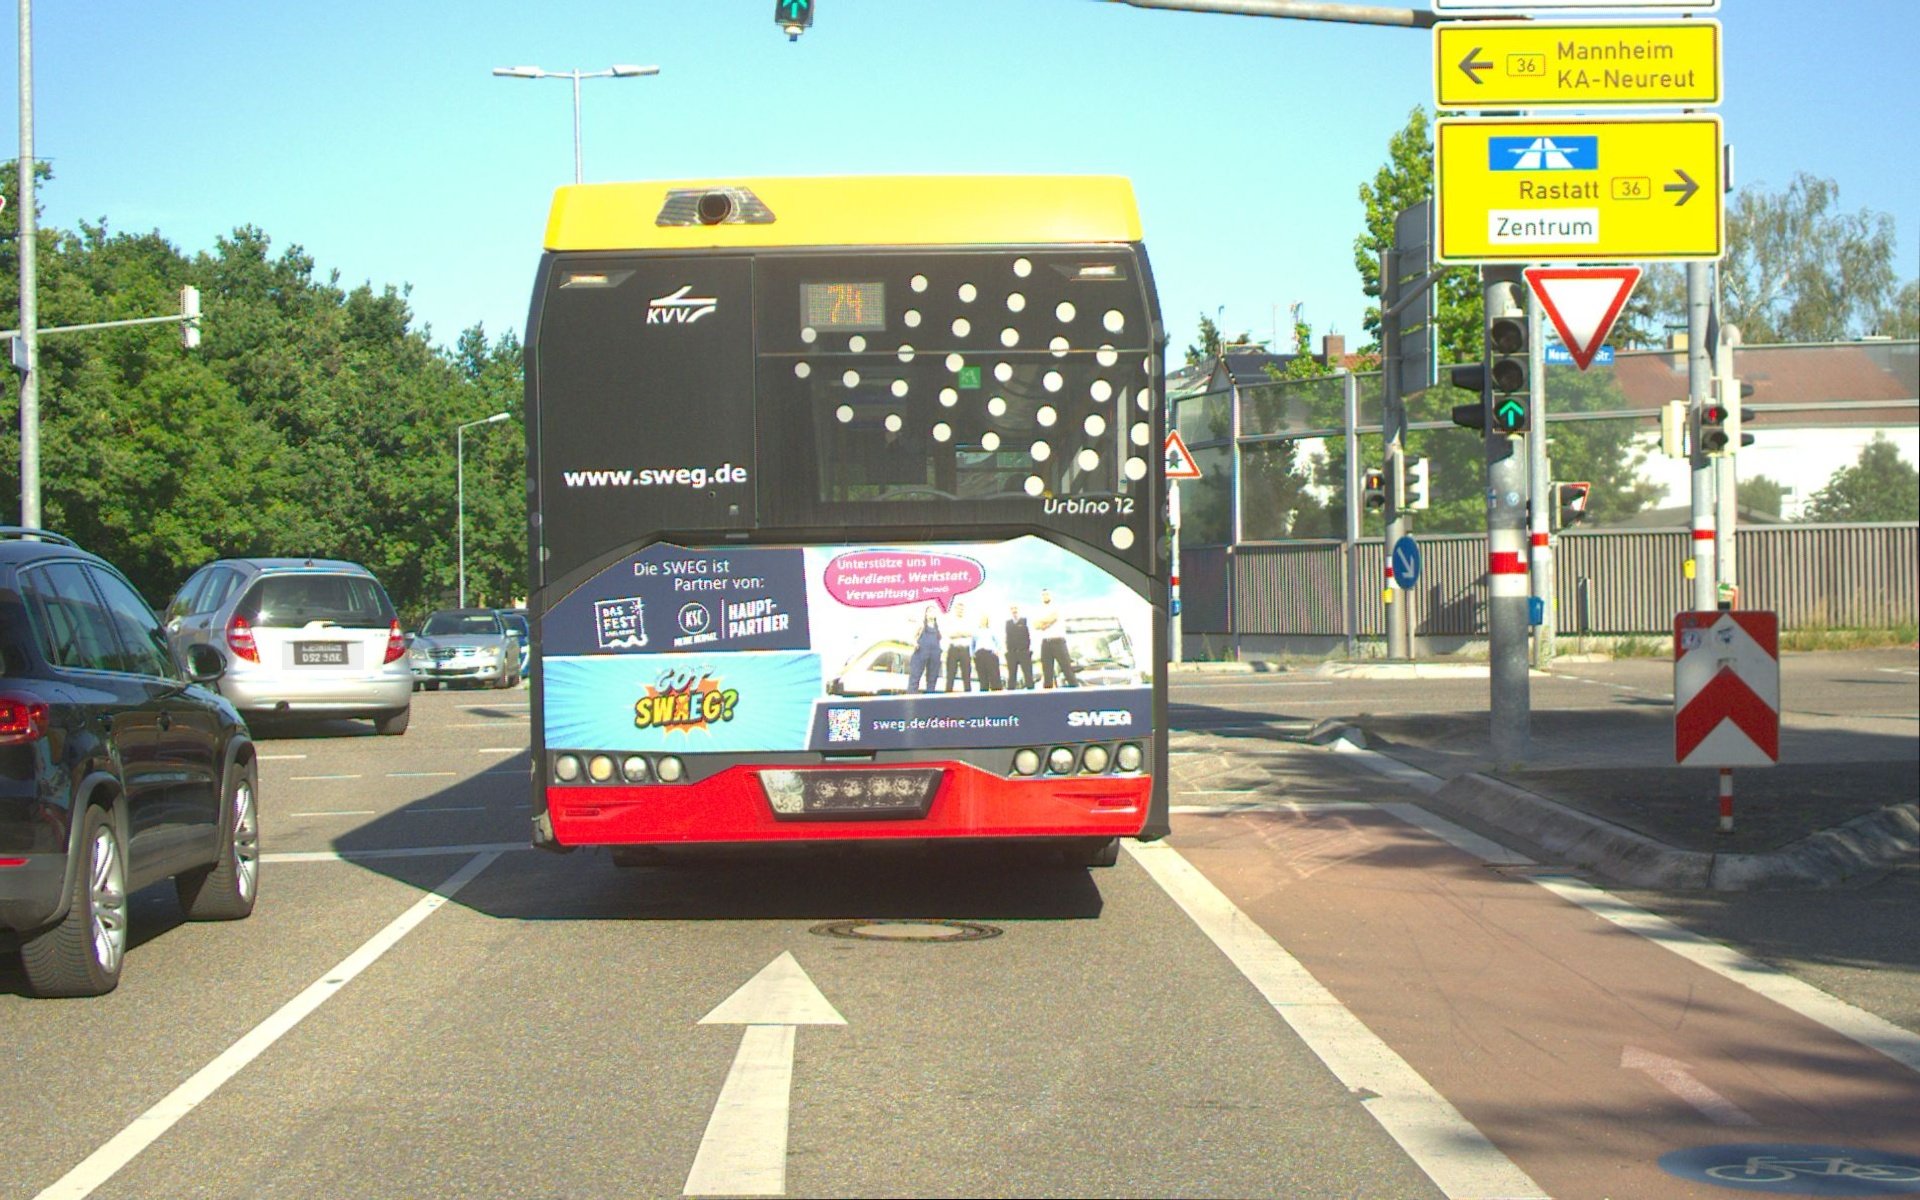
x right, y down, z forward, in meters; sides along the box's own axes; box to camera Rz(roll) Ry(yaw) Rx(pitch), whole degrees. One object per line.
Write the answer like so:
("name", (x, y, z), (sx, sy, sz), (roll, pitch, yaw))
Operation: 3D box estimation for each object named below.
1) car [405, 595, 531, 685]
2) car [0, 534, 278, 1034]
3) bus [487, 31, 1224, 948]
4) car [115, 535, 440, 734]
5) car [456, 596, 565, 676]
("car", (-8.771, 0.703, 61.603), (1.793, 1.501, 4.530), (-1, 0, -3))
("car", (-3.902, 0.588, 13.140), (1.827, 1.622, 4.000), (-1, 0, -1))
("bus", (-0.653, -0.488, 19.276), (2.757, 3.446, 12.399), (1, 1, -2))
("car", (-6.340, 0.245, 31.564), (2.041, 1.610, 4.419), (-2, 2, -23))
("car", (-9.643, 0.765, 74.049), (1.993, 1.611, 4.531), (-1, 0, -4))
